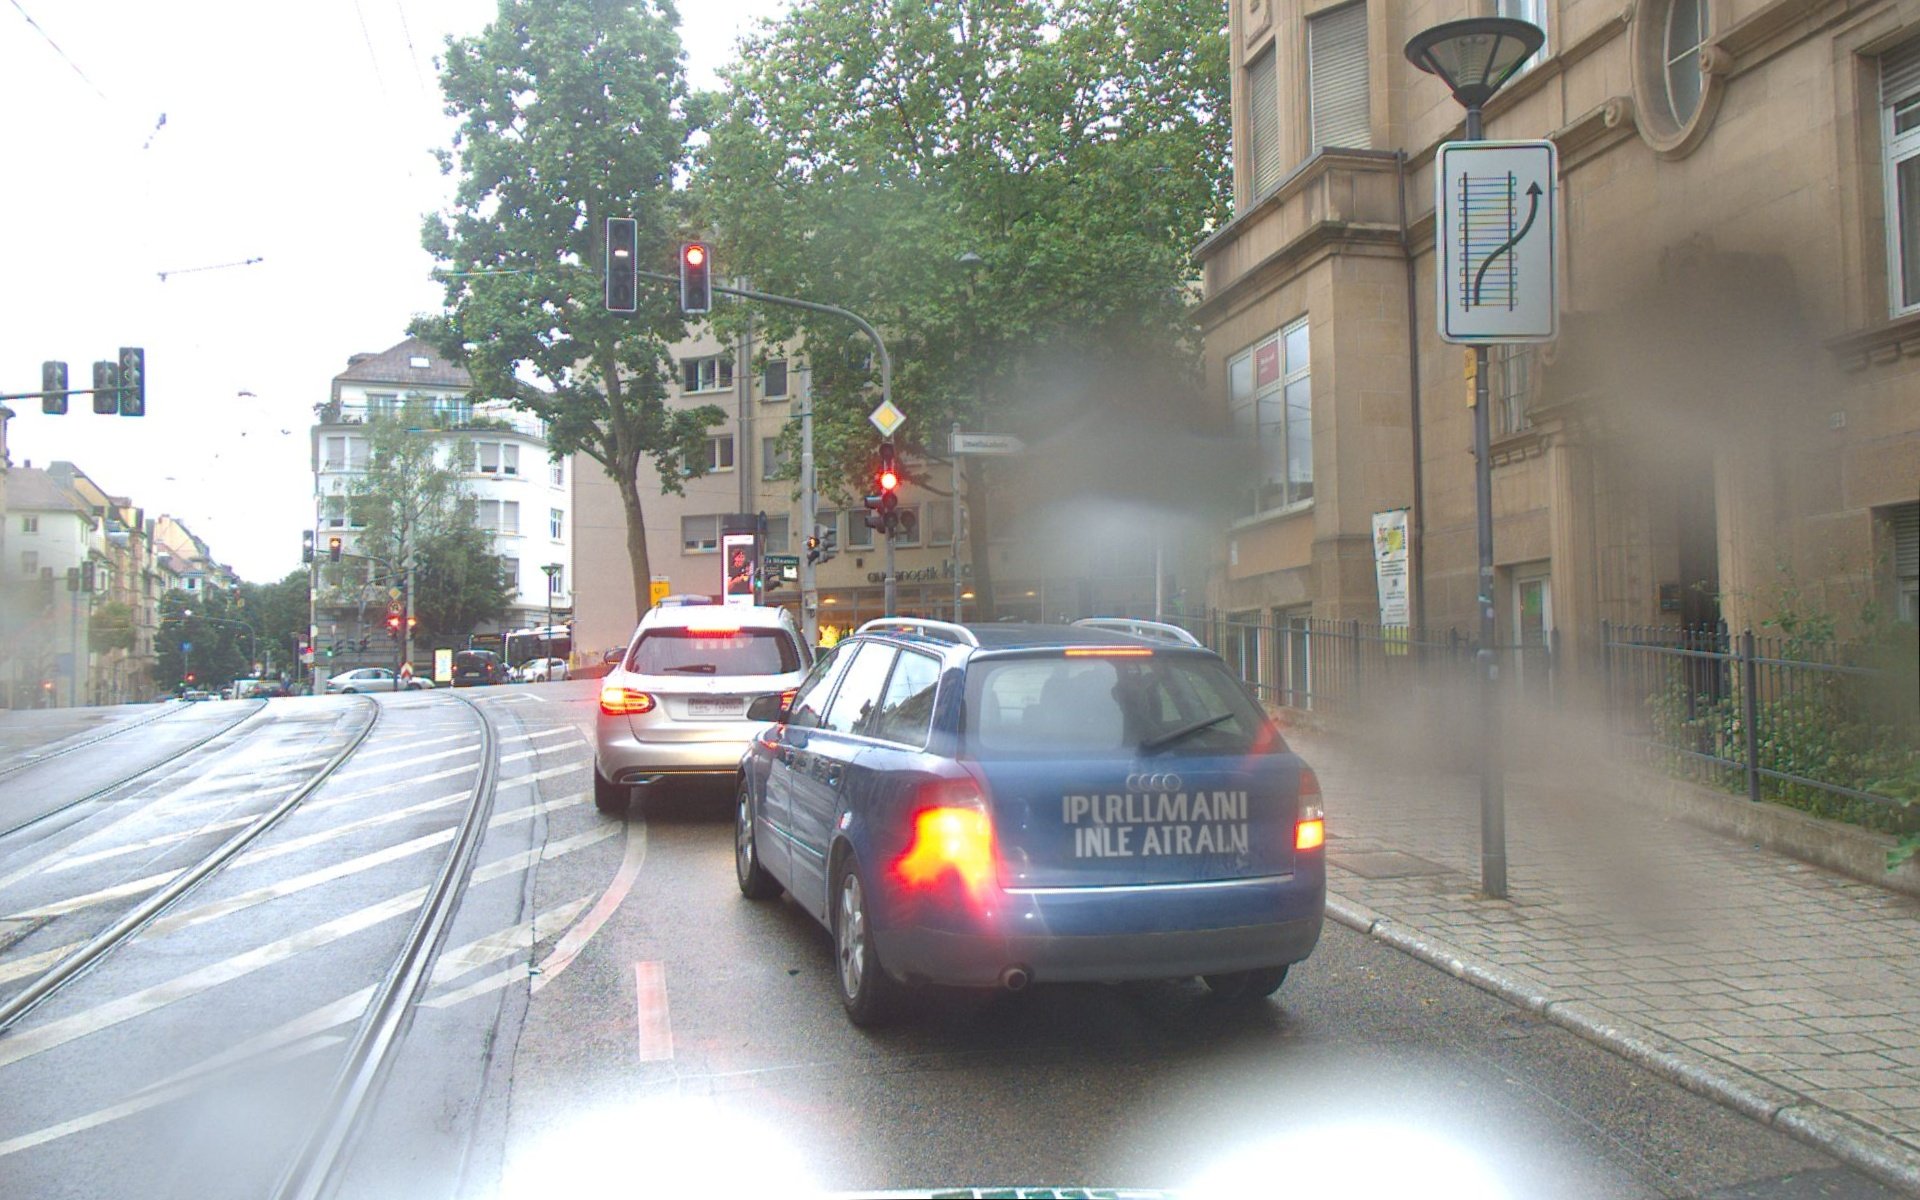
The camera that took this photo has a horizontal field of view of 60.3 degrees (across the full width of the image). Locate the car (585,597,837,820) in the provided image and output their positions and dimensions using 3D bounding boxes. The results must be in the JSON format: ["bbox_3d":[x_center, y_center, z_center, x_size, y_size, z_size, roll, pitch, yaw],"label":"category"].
[{"bbox_3d":[-1.906,0.722,12.901,1.678,1.481,3.546,0,0,-8],"label":"car"}]

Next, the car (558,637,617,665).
[{"bbox_3d":[-22.893,3.144,101.691,1.756,1.536,4.002,-1,0,17],"label":"car"}]

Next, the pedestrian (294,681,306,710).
[{"bbox_3d":[-39.702,5.728,99.520,0.639,1.690,0.646,0,-1,-21],"label":"pedestrian"}]

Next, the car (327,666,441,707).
[{"bbox_3d":[-25.366,3.799,72.867,4.592,1.537,1.786,-1,0,-25],"label":"car"}]

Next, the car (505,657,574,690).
[{"bbox_3d":[-22.372,3.903,88.118,1.756,1.536,4.002,-1,0,17],"label":"car"}]

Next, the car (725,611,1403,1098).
[{"bbox_3d":[0.115,0.791,7.232,1.683,1.440,4.017,0,0,-17],"label":"car"}]

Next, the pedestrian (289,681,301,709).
[{"bbox_3d":[-40.941,5.829,101.835,0.639,1.690,0.646,0,-1,-21],"label":"pedestrian"}]

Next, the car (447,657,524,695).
[{"bbox_3d":[-23.775,3.793,83.009,1.756,1.642,4.002,-1,0,17],"label":"car"}]

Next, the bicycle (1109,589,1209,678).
[{"bbox_3d":[2.854,0.479,23.766,1.278,1.194,0.524,-3,0,-13],"label":"bicycle"}]

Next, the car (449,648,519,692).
[{"bbox_3d":[-19.447,2.837,67.744,1.758,1.536,3.999,-3,0,-2],"label":"car"}]

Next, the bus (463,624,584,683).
[{"bbox_3d":[-24.635,2.971,93.863,2.793,2.911,8.741,-1,0,13],"label":"bus"}]
